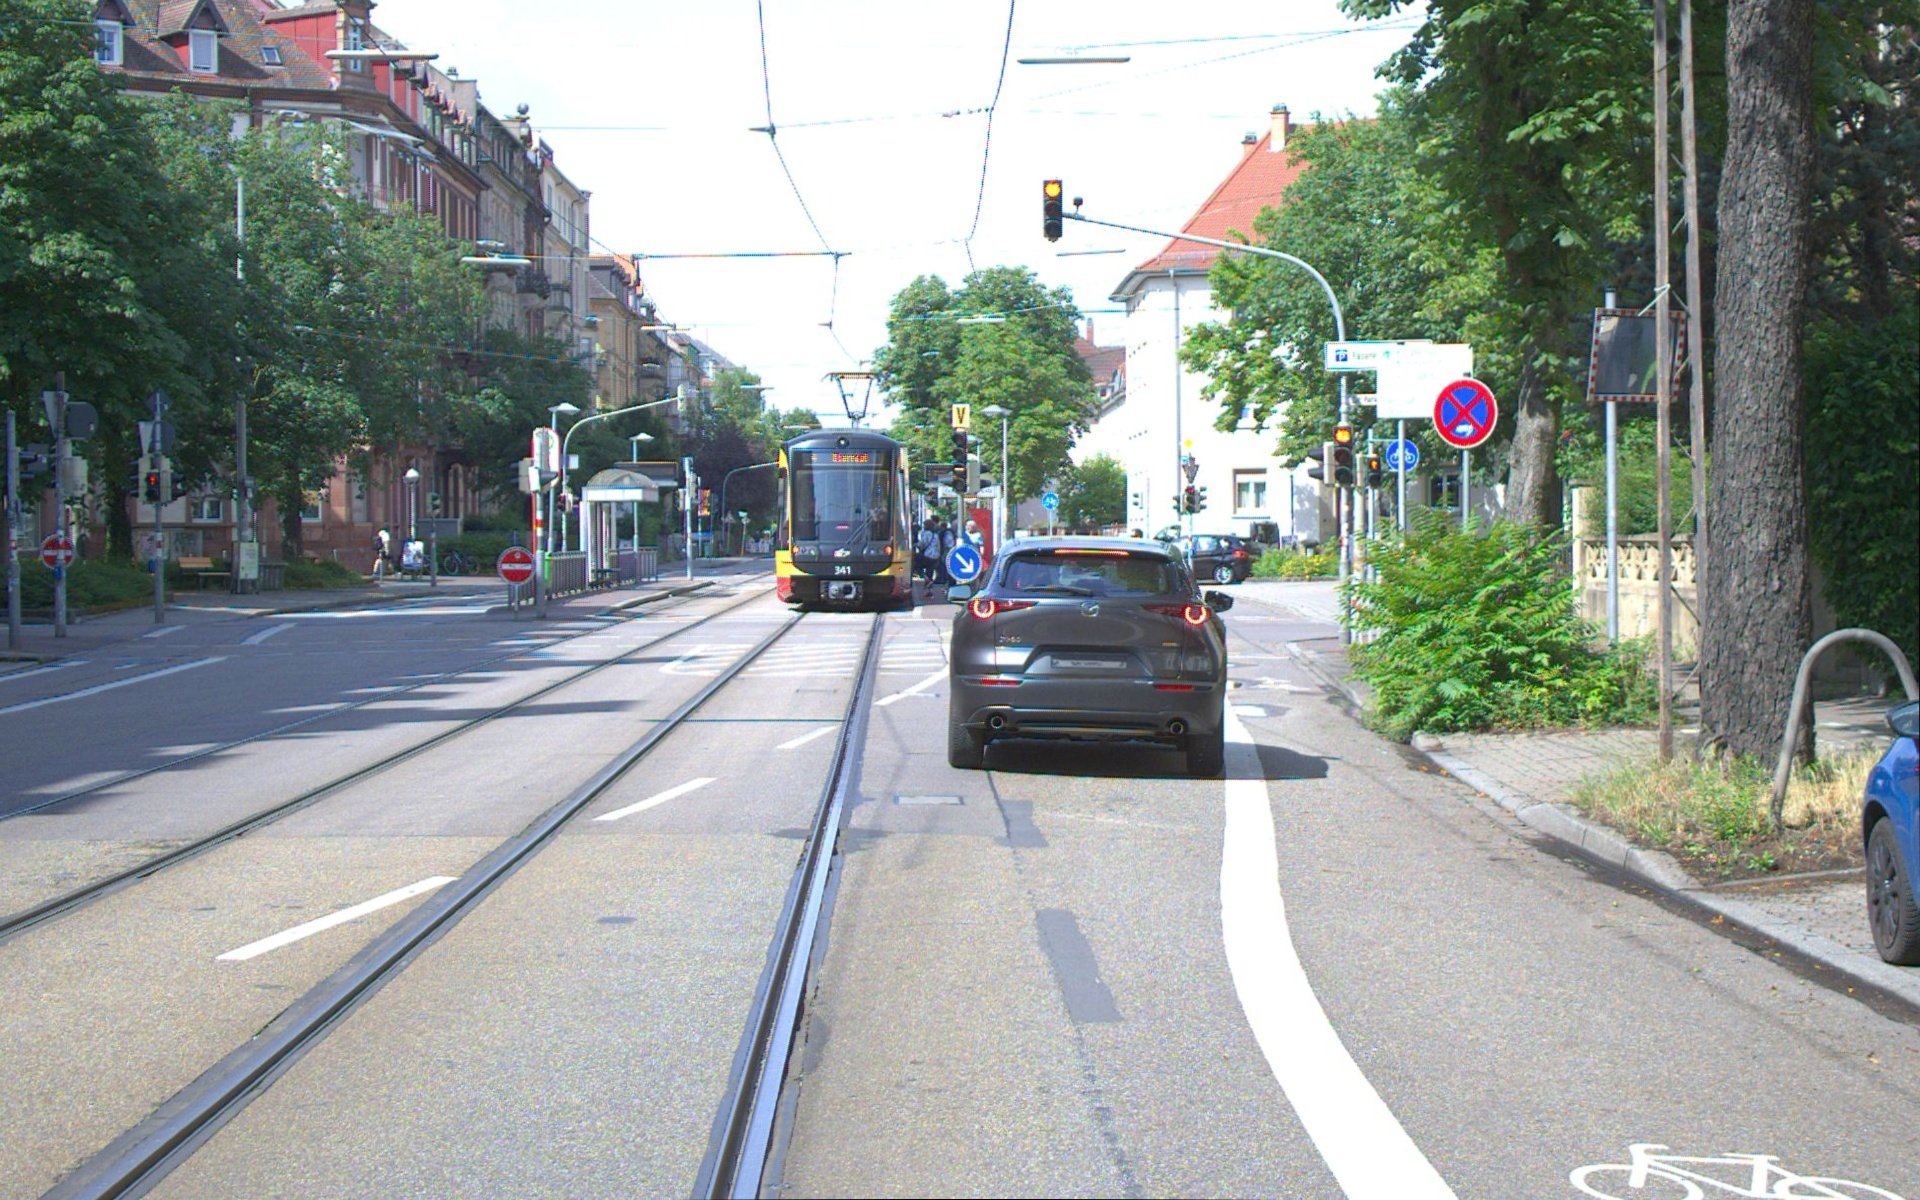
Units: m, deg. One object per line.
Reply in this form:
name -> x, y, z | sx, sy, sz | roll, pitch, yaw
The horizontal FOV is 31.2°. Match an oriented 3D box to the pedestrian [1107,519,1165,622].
pedestrian -> 2.757, -0.462, 53.835 | 0.874, 1.599, 0.632 | 0, 1, 0

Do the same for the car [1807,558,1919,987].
car -> 4.193, 0.606, 11.556 | 1.624, 1.491, 3.848 | -2, 1, -1

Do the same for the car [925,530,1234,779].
car -> 0.722, 0.300, 23.577 | 1.789, 1.507, 4.351 | 1, 1, -2

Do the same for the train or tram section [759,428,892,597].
train or tram section -> -3.085, -1.908, 76.951 | 2.651, 3.515, 8.498 | -1, 1, -4

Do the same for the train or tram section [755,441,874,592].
train or tram section -> -3.690, -2.036, 85.430 | 2.651, 3.515, 8.498 | -1, 1, -4

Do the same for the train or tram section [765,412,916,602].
train or tram section -> -2.471, -1.797, 68.450 | 2.651, 3.515, 8.498 | -1, 1, -4

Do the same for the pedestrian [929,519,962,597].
pedestrian -> -0.303, -0.872, 71.049 | 0.667, 1.599, 0.700 | 0, 1, -3
